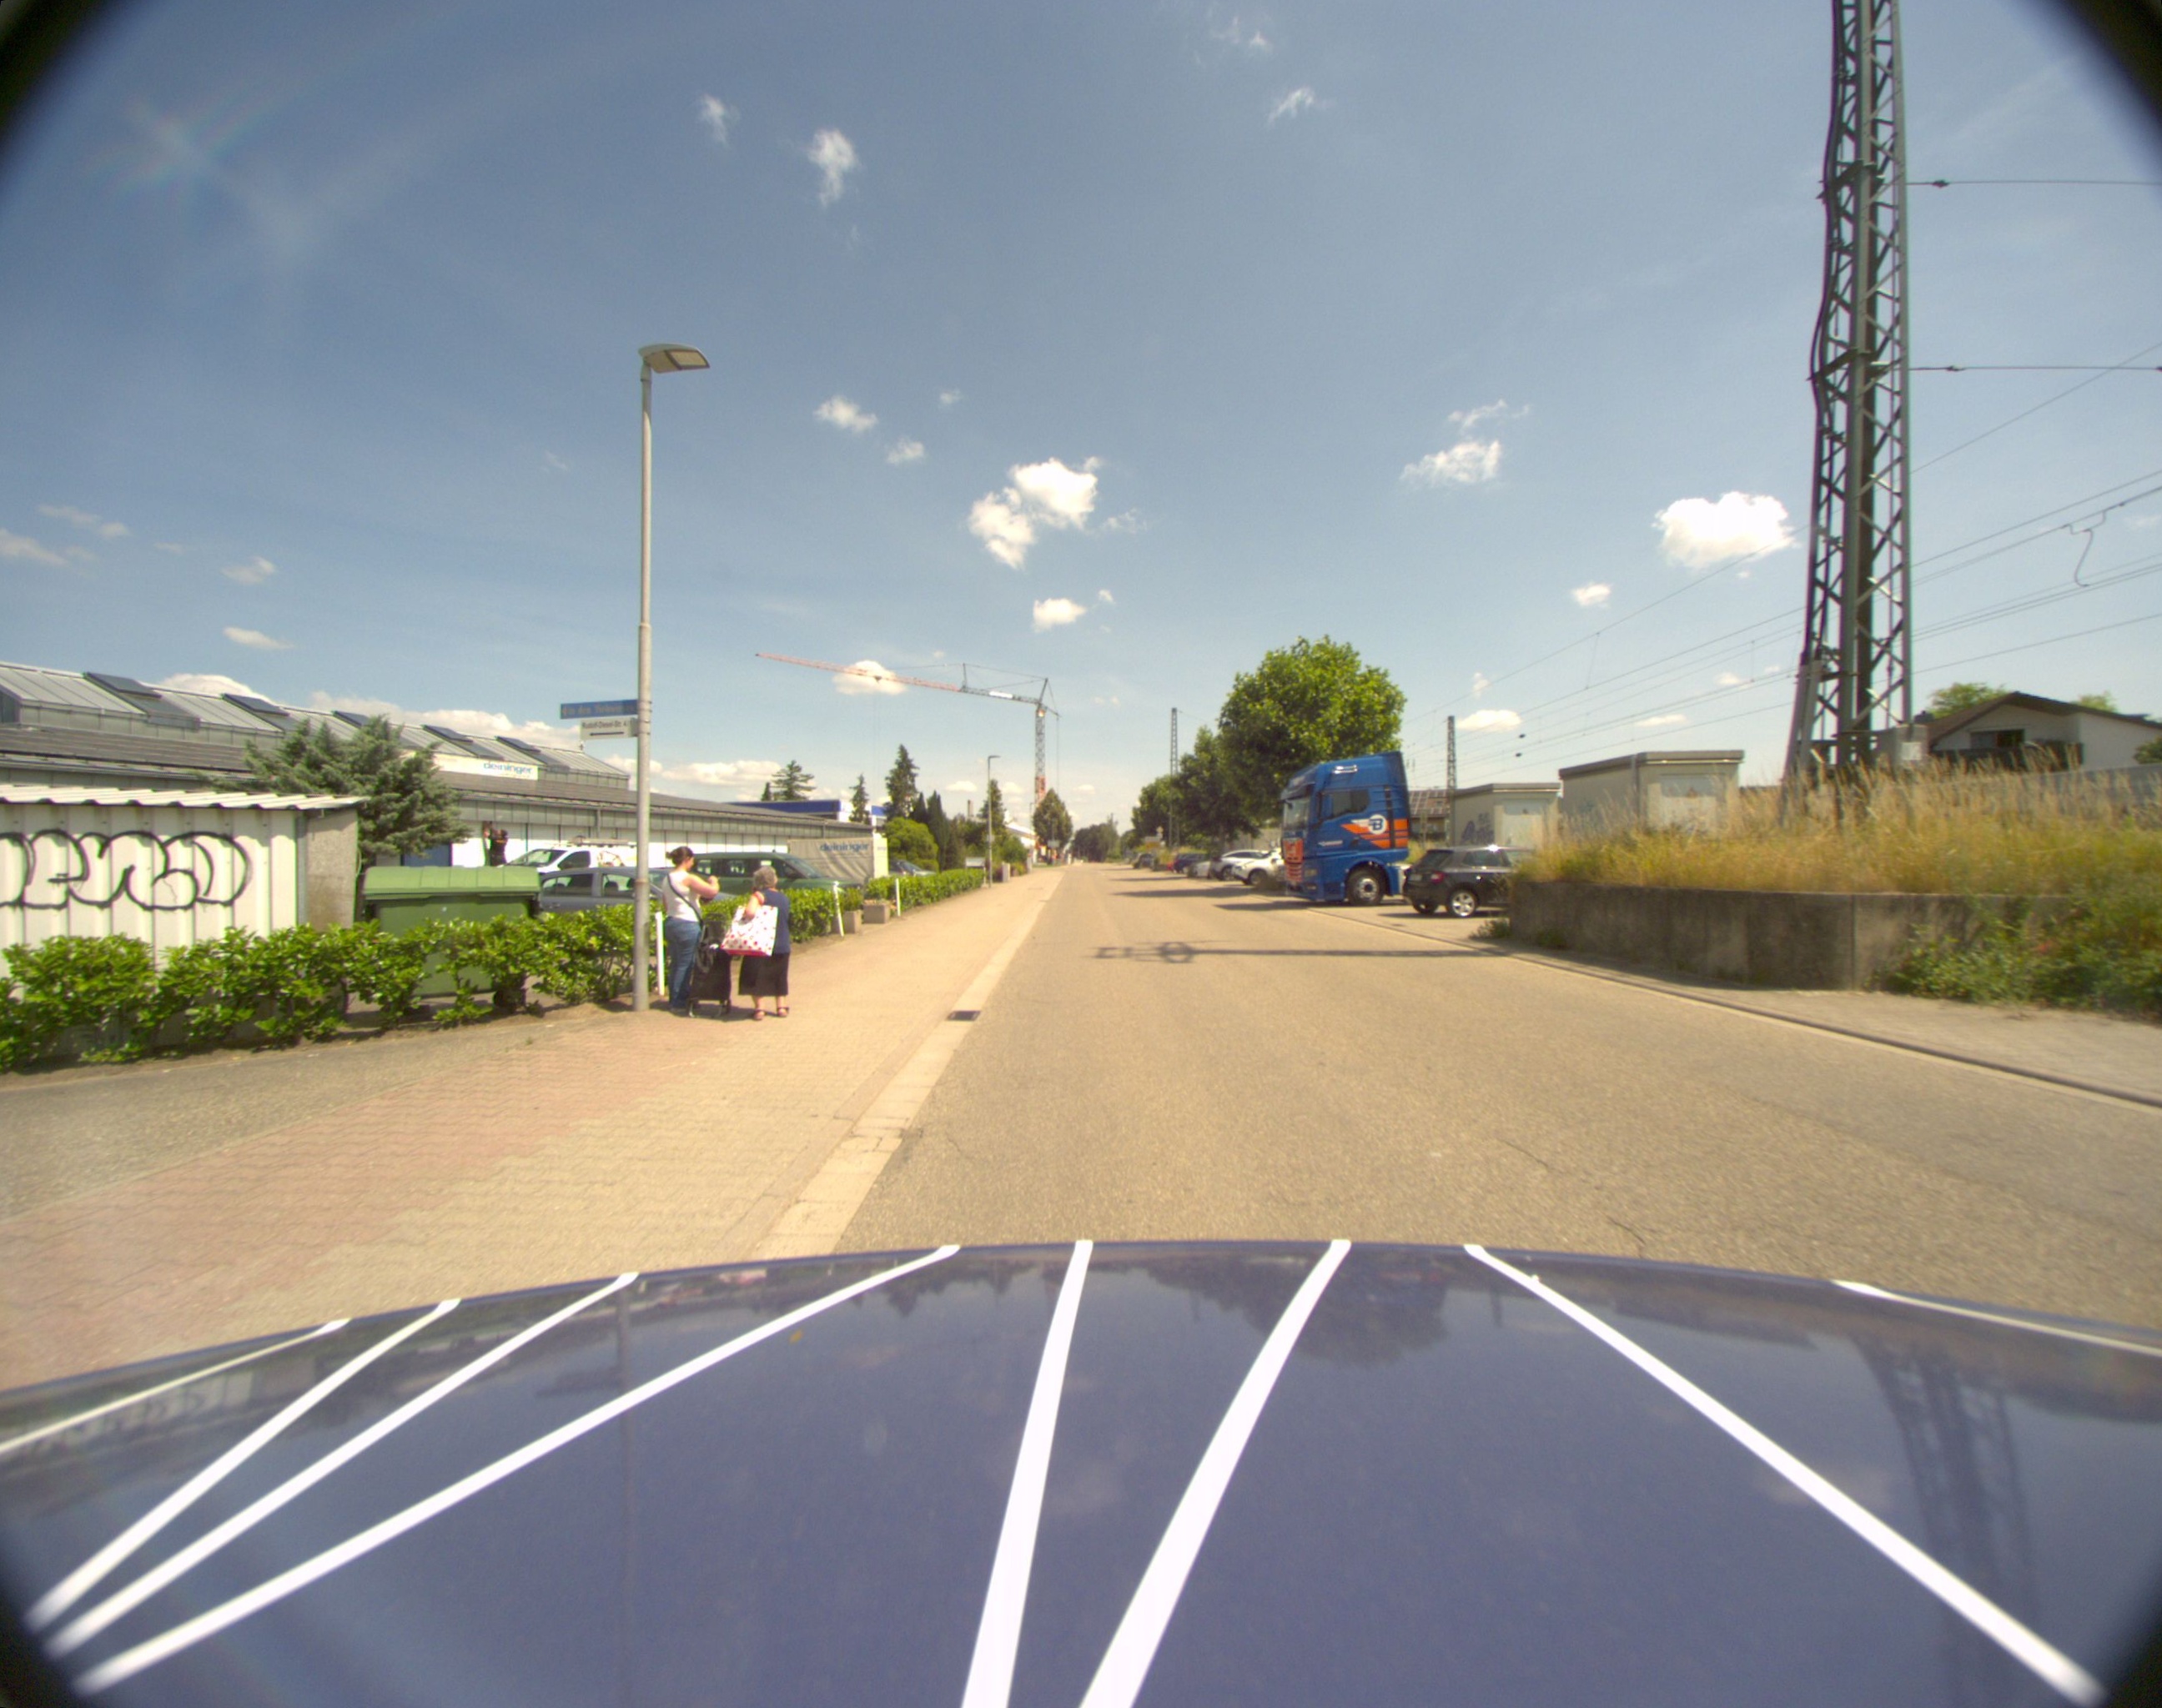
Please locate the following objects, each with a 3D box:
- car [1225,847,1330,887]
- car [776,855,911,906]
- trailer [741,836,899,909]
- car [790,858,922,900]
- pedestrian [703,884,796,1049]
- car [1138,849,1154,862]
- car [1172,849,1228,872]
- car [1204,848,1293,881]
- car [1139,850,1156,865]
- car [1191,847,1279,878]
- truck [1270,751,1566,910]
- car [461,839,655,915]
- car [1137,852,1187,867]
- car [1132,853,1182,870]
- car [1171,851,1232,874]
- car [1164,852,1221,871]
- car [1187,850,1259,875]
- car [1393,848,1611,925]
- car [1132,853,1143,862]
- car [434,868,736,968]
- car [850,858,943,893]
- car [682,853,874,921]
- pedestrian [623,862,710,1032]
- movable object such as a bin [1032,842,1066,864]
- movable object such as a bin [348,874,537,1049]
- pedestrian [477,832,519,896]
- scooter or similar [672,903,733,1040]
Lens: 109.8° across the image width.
[{"bbox_3d":[8.420,0.545,32.797,3.981,1.608,1.850,-1,0,-3],"label":"car"},{"bbox_3d":[-7.879,0.858,25.512,4.045,1.566,1.712,0,2,-5],"label":"car"},{"bbox_3d":[-7.785,0.539,22.955,3.997,2.002,2.000,-1,0,0],"label":"trailer"},{"bbox_3d":[-8.467,0.936,28.902,4.487,1.432,1.814,-1,0,-3],"label":"car"},{"bbox_3d":[-2.990,0.996,6.896,0.566,1.397,0.583,0,3,-1],"label":"pedestrian"},{"bbox_3d":[7.832,0.184,91.839,1.807,1.555,4.263,0,0,3],"label":"car"},{"bbox_3d":[8.506,0.451,54.461,3.675,1.439,1.684,-2,0,-2],"label":"car"},{"bbox_3d":[8.361,0.490,38.155,3.997,1.539,1.999,-1,1,-2],"label":"car"},{"bbox_3d":[7.143,0.338,81.738,1.688,1.522,4.064,0,0,7],"label":"car"},{"bbox_3d":[8.220,0.470,40.827,4.349,1.524,1.926,-1,0,0],"label":"car"},{"bbox_3d":[8.743,-0.600,20.227,6.632,3.801,2.663,-1,1,-2],"label":"truck"},{"bbox_3d":[-15.975,0.617,23.605,2.103,2.113,4.721,0,1,14],"label":"car"},{"bbox_3d":[7.583,0.540,71.360,4.438,1.402,1.787,0,0,-2],"label":"car"},{"bbox_3d":[6.550,0.627,66.083,4.084,1.394,1.786,-2,0,-2],"label":"car"},{"bbox_3d":[8.206,0.569,51.883,3.953,1.442,1.787,-1,1,5],"label":"car"},{"bbox_3d":[8.478,0.576,57.945,4.083,1.360,1.674,-1,-1,1],"label":"car"},{"bbox_3d":[8.586,0.492,46.178,4.083,1.464,1.787,0,1,1],"label":"car"},{"bbox_3d":[8.751,0.645,15.999,3.653,1.492,1.699,0,2,-3],"label":"car"},{"bbox_3d":[9.338,0.574,125.568,1.607,1.342,4.000,0,0,2],"label":"car"},{"bbox_3d":[-8.152,1.016,12.757,3.855,1.447,1.817,-1,0,1],"label":"car"},{"bbox_3d":[-7.620,0.875,31.564,3.360,1.393,1.770,0,0,4],"label":"car"},{"bbox_3d":[-7.704,0.816,19.618,4.223,1.625,1.800,0,2,-1],"label":"car"},{"bbox_3d":[-3.897,0.854,7.171,0.536,1.531,0.510,1,1,-1],"label":"pedestrian"},{"bbox_3d":[-5.312,-0.191,126.409,5.133,3.276,2.390,0,6,-16],"label":"movable object such as a bin"},{"bbox_3d":[-6.083,0.945,7.337,1.270,1.450,1.046,-2,1,-37],"label":"movable object such as a bin"},{"bbox_3d":[-17.789,0.293,23.197,0.717,1.932,0.690,0,3,-1],"label":"pedestrian"},{"bbox_3d":[-3.480,1.070,7.003,0.334,1.191,0.397,0,3,1],"label":"scooter or similar"}]
